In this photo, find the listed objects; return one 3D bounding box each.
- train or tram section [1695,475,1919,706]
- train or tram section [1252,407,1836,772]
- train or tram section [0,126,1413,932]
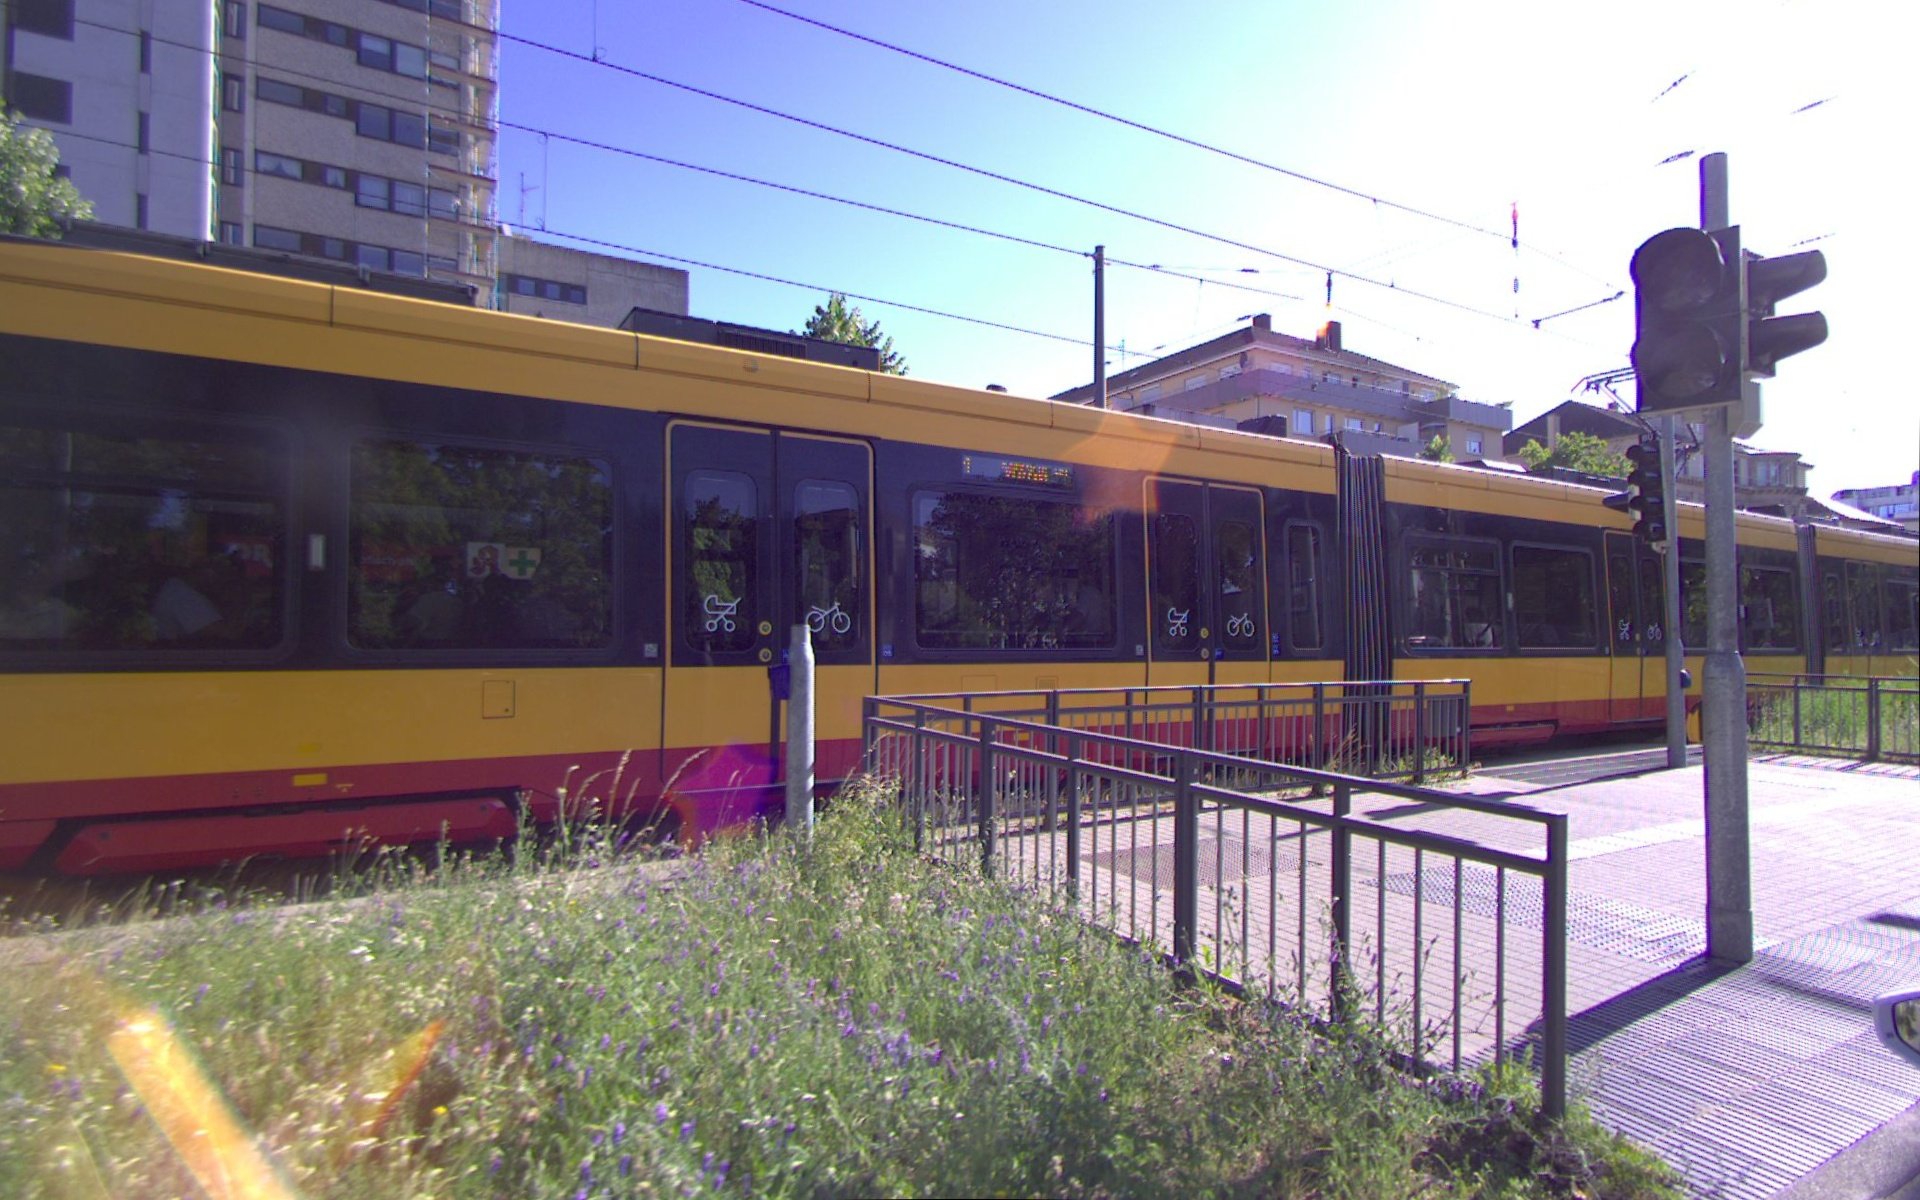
[{"bbox_3d":[18.475,-0.010,19.926,11.548,3.717,1.984,1,-1,-31],"label":"train or tram section"},{"bbox_3d":[8.750,0.028,14.014,11.188,3.717,1.983,1,-1,-32],"label":"train or tram section"},{"bbox_3d":[-1.801,-0.232,7.444,13.994,3.717,1.983,2,-1,-32],"label":"train or tram section"}]
